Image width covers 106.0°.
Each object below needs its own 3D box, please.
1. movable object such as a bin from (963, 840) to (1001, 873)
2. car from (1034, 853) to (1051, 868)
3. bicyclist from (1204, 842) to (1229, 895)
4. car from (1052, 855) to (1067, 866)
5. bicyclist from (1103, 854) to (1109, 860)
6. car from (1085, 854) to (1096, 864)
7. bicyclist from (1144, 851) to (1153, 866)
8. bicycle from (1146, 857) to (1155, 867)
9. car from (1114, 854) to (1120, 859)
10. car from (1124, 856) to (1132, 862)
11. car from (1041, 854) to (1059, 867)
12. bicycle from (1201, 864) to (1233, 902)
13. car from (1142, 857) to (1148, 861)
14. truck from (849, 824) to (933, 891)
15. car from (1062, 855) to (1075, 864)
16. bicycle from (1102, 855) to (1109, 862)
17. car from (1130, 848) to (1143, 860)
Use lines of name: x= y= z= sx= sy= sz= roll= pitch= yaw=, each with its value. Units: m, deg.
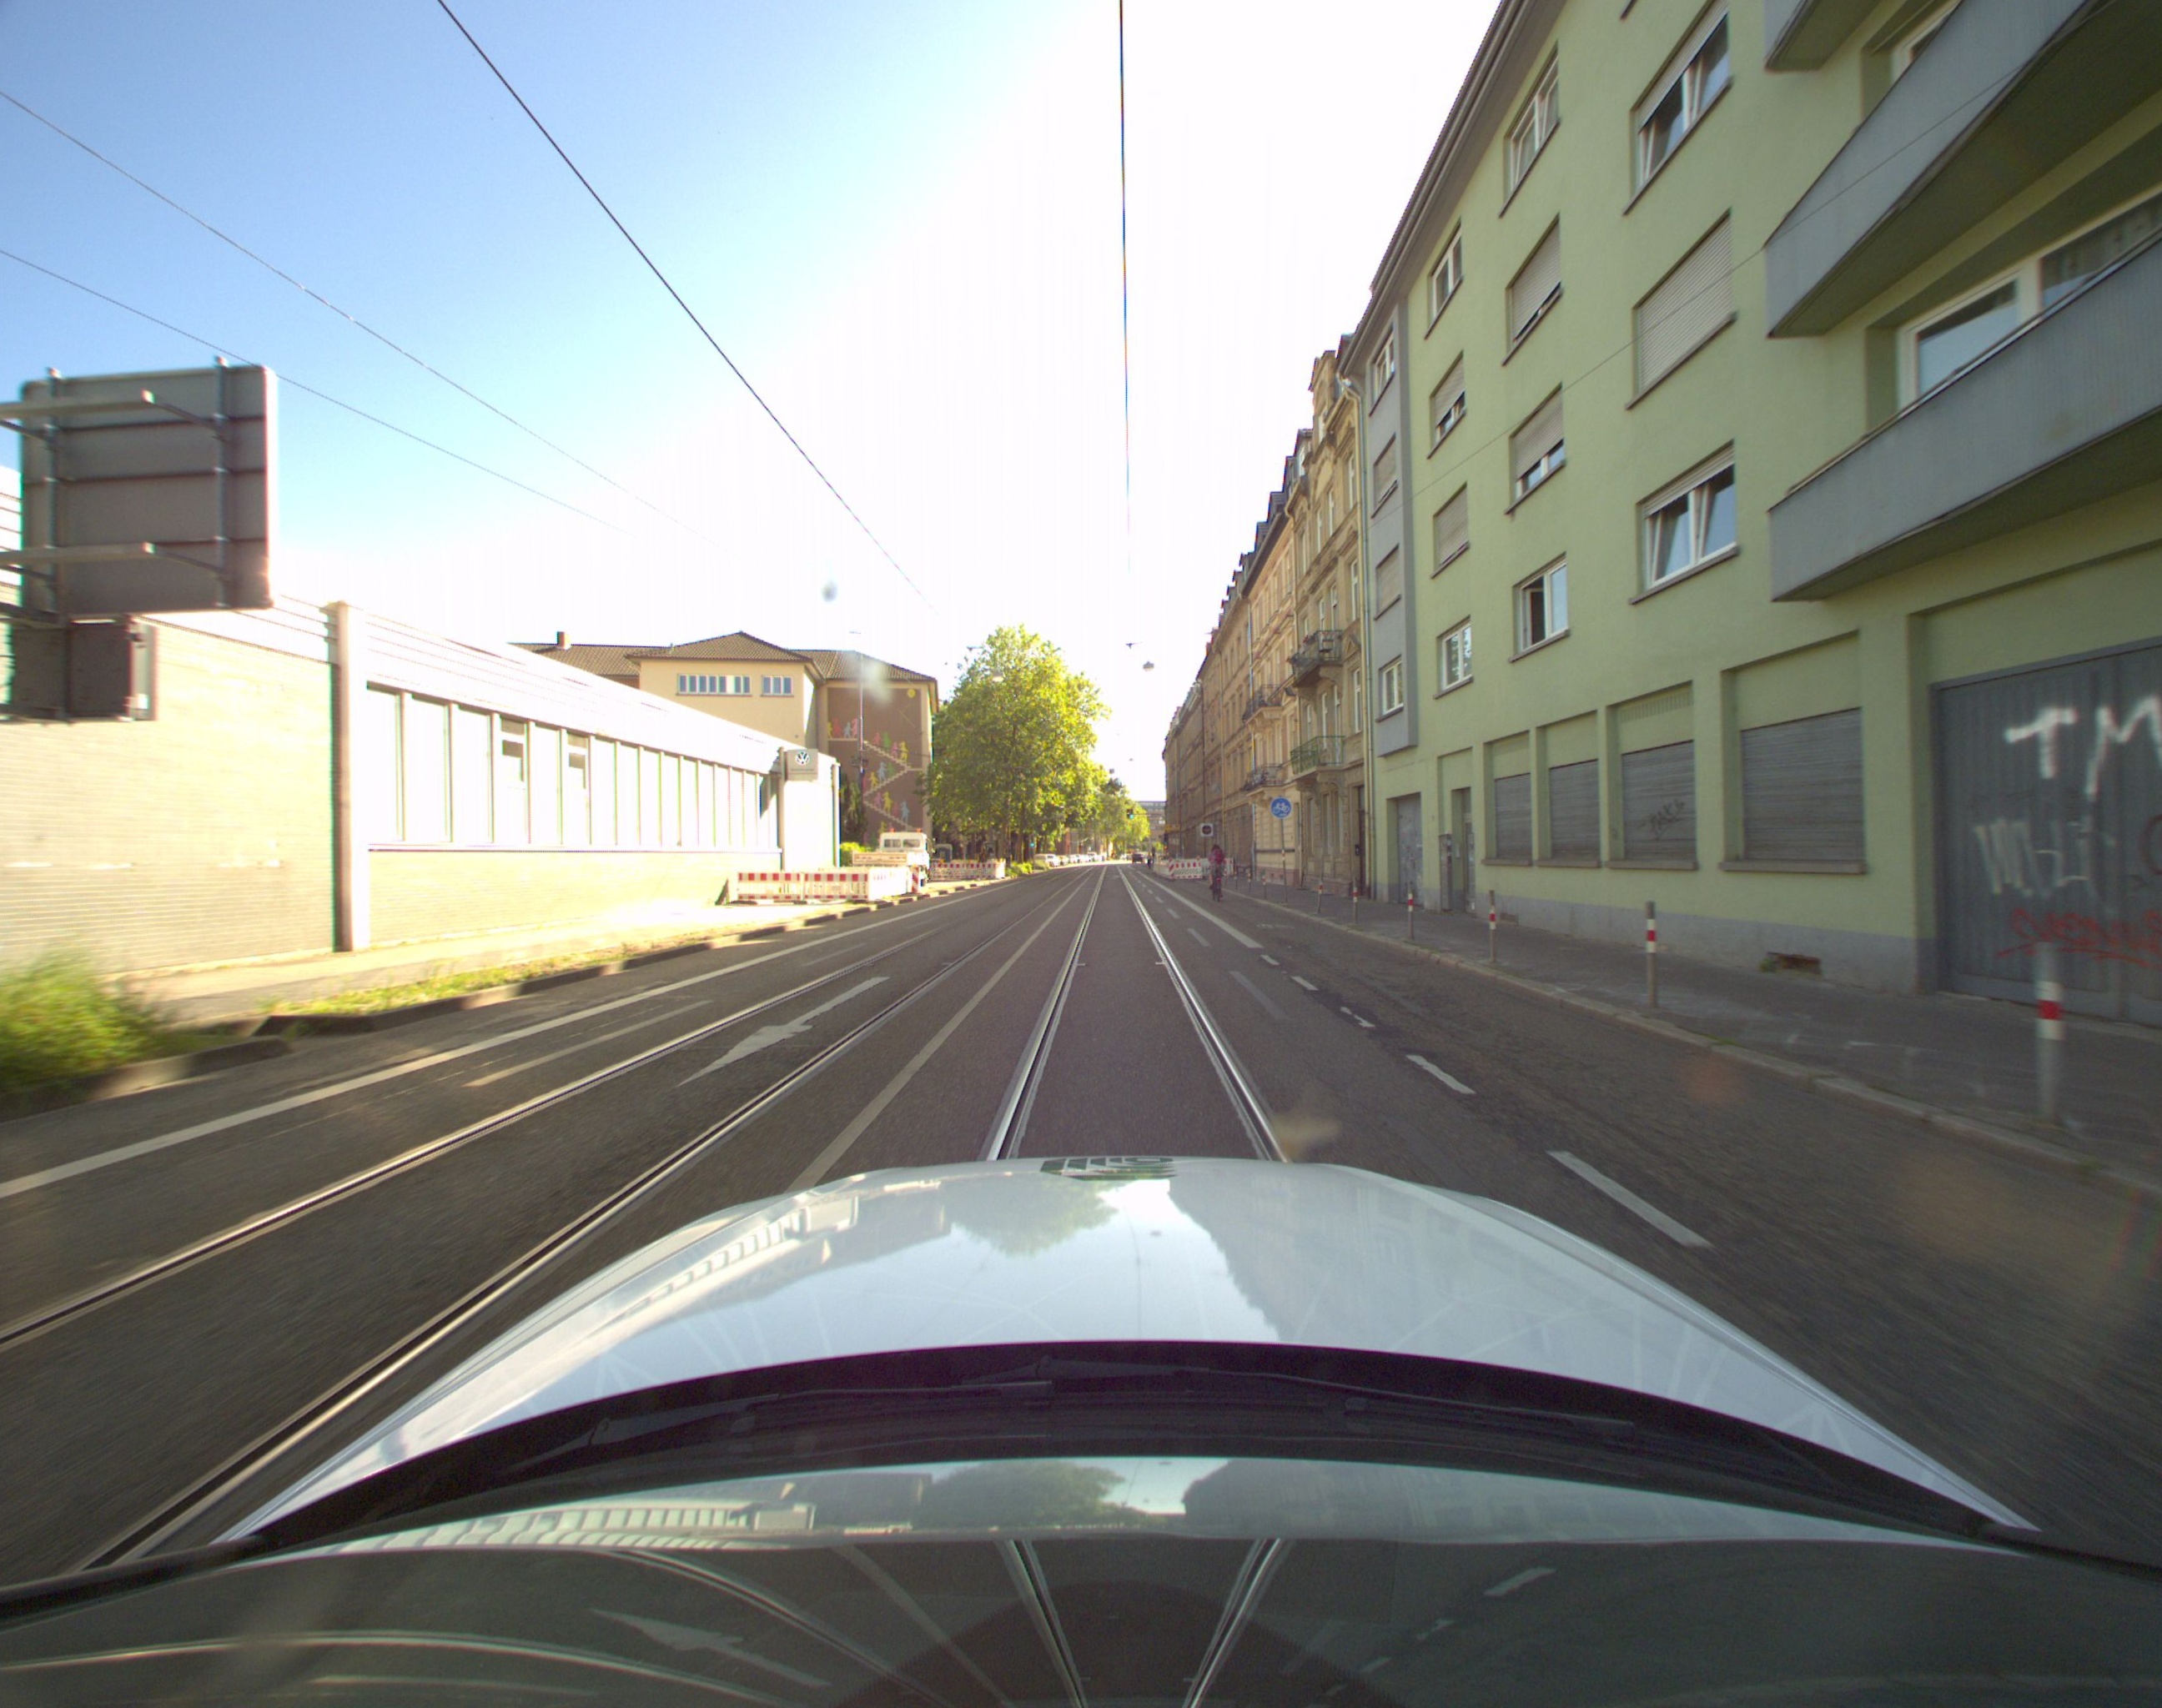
movable object such as a bin: x=-8.385 y=0.180 z=69.320 sx=2.487 sy=2.645 sz=5.987 roll=1 pitch=0 yaw=-1
car: x=-4.377 y=0.798 z=92.999 sx=1.538 sy=1.658 sz=3.767 roll=1 pitch=-1 yaw=5
bicyclist: x=4.377 y=0.470 z=26.427 sx=0.664 sy=1.697 sz=1.043 roll=1 pitch=-1 yaw=2
car: x=-3.081 y=0.972 z=119.040 sx=1.740 sy=1.509 sz=4.048 roll=1 pitch=-1 yaw=5
bicyclist: x=5.883 y=0.767 z=192.688 sx=1.071 sy=1.427 sz=1.149 roll=0 pitch=-1 yaw=10
car: x=2.015 y=1.013 z=172.697 sx=2.049 sy=2.052 sz=4.048 roll=1 pitch=-1 yaw=5
bicyclist: x=7.013 y=0.457 z=84.399 sx=0.835 sy=1.558 sz=0.966 roll=1 pitch=-1 yaw=2
bicycle: x=7.199 y=0.827 z=84.560 sx=0.852 sy=1.088 sz=2.488 roll=1 pitch=-1 yaw=2
car: x=11.301 y=0.739 z=256.724 sx=1.739 sy=1.625 sz=4.051 roll=1 pitch=-1 yaw=7
car: x=11.593 y=1.230 z=200.427 sx=1.739 sy=1.422 sz=4.051 roll=1 pitch=-1 yaw=7
car: x=-3.909 y=0.830 z=103.502 sx=1.740 sy=1.608 sz=4.048 roll=1 pitch=-1 yaw=5
bicycle: x=4.373 y=0.910 z=26.366 sx=0.678 sy=1.114 sz=2.708 roll=1 pitch=0 yaw=2
car: x=20.300 y=1.541 z=259.770 sx=1.739 sy=1.422 sz=4.051 roll=1 pitch=-1 yaw=7
truck: x=-8.749 y=0.183 z=38.182 sx=2.531 sy=2.830 sz=6.372 roll=1 pitch=-1 yaw=-2
car: x=-2.162 y=0.980 z=141.983 sx=1.740 sy=1.495 sz=4.048 roll=1 pitch=-1 yaw=5
bicycle: x=5.774 y=1.002 z=192.738 sx=1.227 sy=1.572 sz=2.904 roll=0 pitch=-1 yaw=9
car: x=9.282 y=0.063 z=136.734 sx=1.985 sy=2.014 sz=4.002 roll=1 pitch=-1 yaw=3
